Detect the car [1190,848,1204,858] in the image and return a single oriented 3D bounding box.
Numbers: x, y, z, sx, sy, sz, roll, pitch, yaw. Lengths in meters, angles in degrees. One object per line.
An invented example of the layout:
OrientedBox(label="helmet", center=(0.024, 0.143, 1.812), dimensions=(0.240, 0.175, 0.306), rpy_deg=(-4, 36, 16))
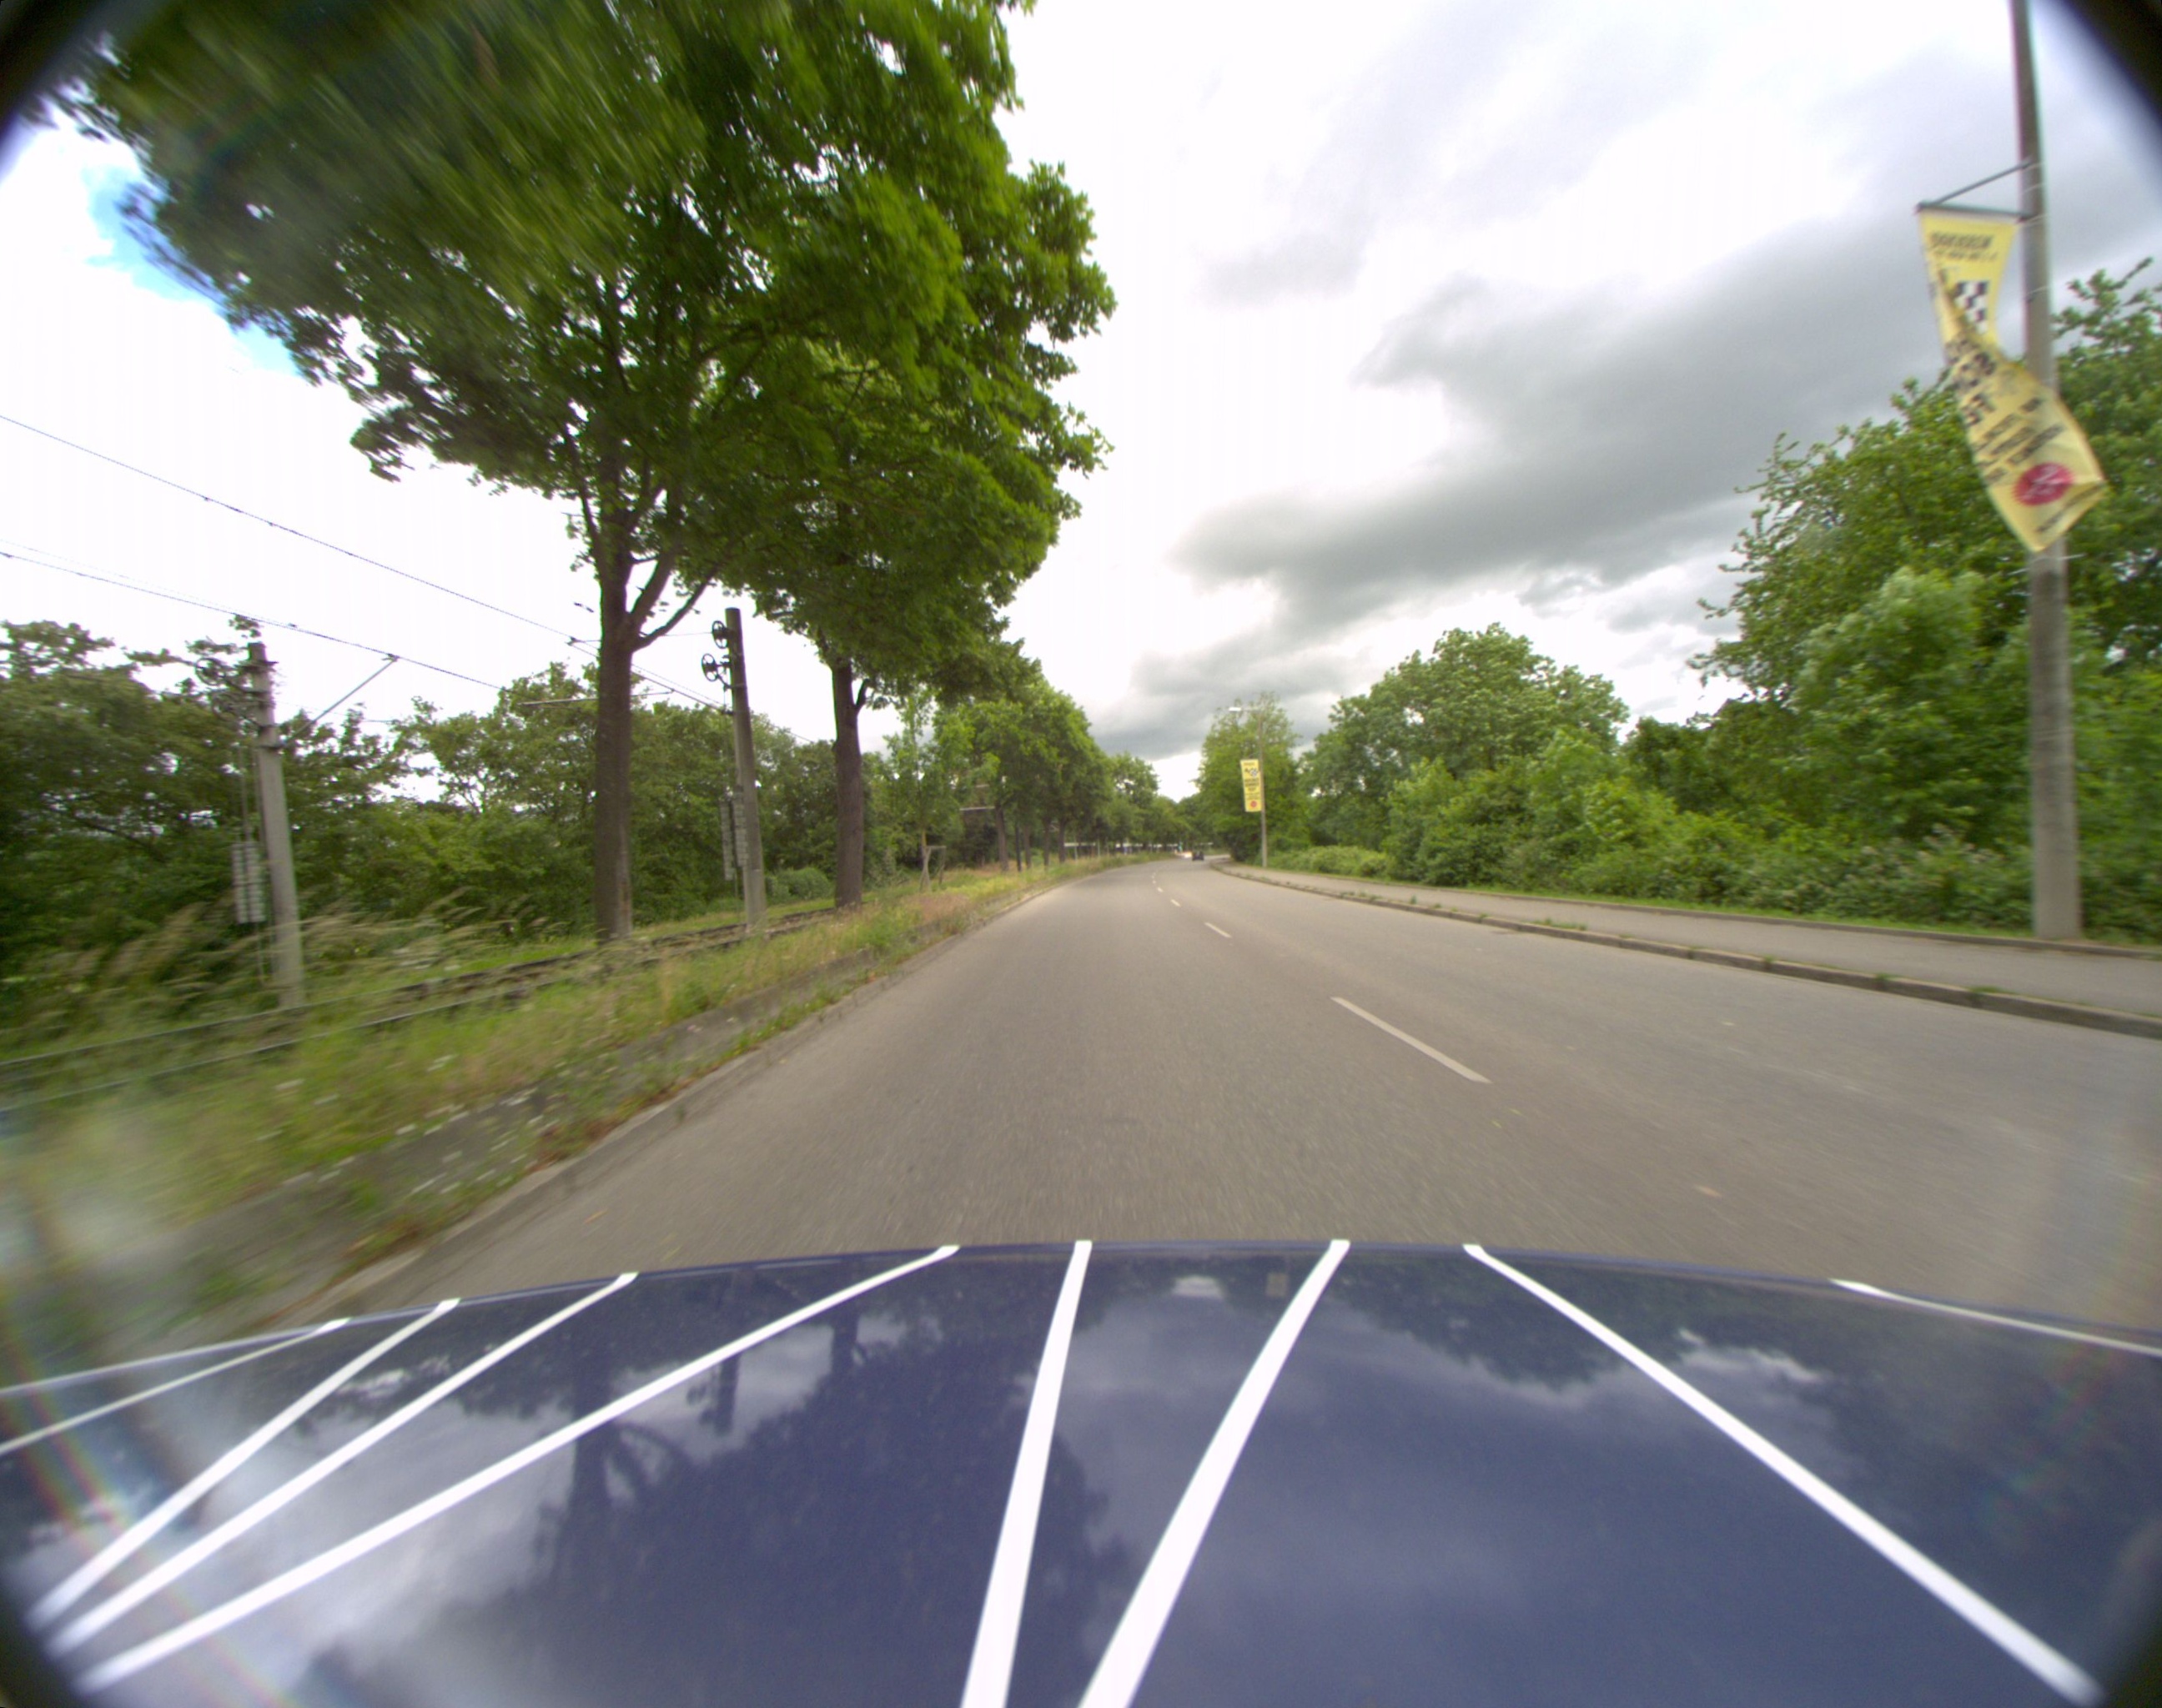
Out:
OrientedBox(label="car", center=(18.072, -0.217, 118.008), dimensions=(1.797, 1.401, 4.003), rpy_deg=(-4, 0, 12))
